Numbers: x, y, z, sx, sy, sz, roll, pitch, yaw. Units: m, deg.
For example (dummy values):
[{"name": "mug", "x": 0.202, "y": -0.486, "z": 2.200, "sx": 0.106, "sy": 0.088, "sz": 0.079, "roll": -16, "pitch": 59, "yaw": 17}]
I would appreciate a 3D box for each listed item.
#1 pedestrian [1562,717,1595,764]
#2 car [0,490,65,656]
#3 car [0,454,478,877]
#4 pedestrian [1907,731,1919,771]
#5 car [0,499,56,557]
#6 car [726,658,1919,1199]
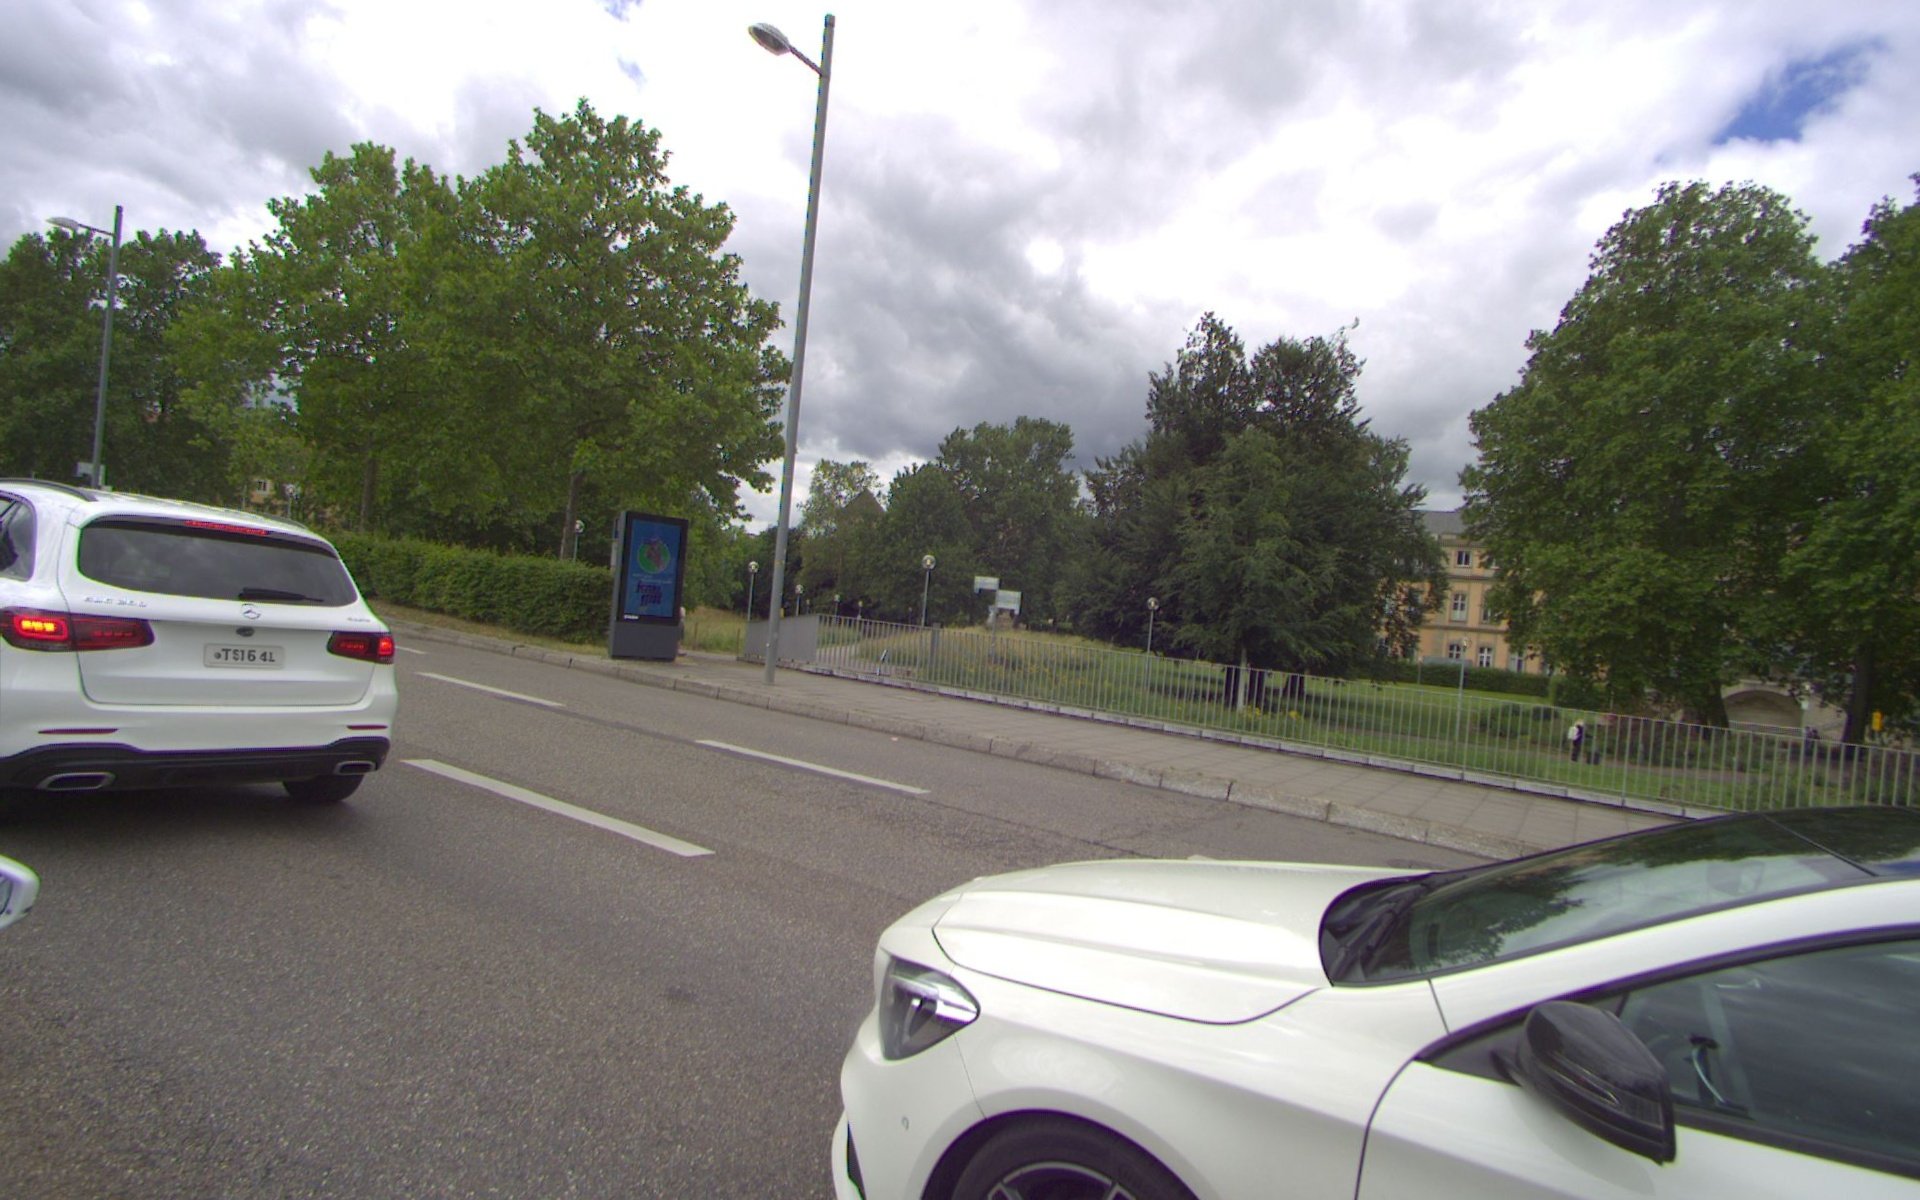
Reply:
[{"name": "pedestrian", "x": 23.008, "y": 5.213, "z": 37.446, "sx": 0.645, "sy": 1.619, "sz": 0.684, "roll": 7, "pitch": -2, "yaw": -1}, {"name": "car", "x": -11.334, "y": -0.494, "z": 10.393, "sx": 4.417, "sy": 1.569, "sz": 1.929, "roll": 6, "pitch": -2, "yaw": 33}, {"name": "car", "x": -5.105, "y": 0.133, "z": 5.941, "sx": 4.416, "sy": 1.673, "sz": 1.929, "roll": 7, "pitch": -1, "yaw": 33}, {"name": "pedestrian", "x": 50.791, "y": 8.007, "z": 52.853, "sx": 0.931, "sy": 2.036, "sz": 1.100, "roll": 7, "pitch": -2, "yaw": -23}, {"name": "car", "x": -29.112, "y": -2.260, "z": 30.223, "sx": 4.458, "sy": 1.476, "sz": 1.933, "roll": 5, "pitch": -3, "yaw": 37}, {"name": "car", "x": 1.849, "y": 1.100, "z": 1.833, "sx": 4.454, "sy": 1.436, "sz": 1.796, "roll": 5, "pitch": -2, "yaw": 33}]
